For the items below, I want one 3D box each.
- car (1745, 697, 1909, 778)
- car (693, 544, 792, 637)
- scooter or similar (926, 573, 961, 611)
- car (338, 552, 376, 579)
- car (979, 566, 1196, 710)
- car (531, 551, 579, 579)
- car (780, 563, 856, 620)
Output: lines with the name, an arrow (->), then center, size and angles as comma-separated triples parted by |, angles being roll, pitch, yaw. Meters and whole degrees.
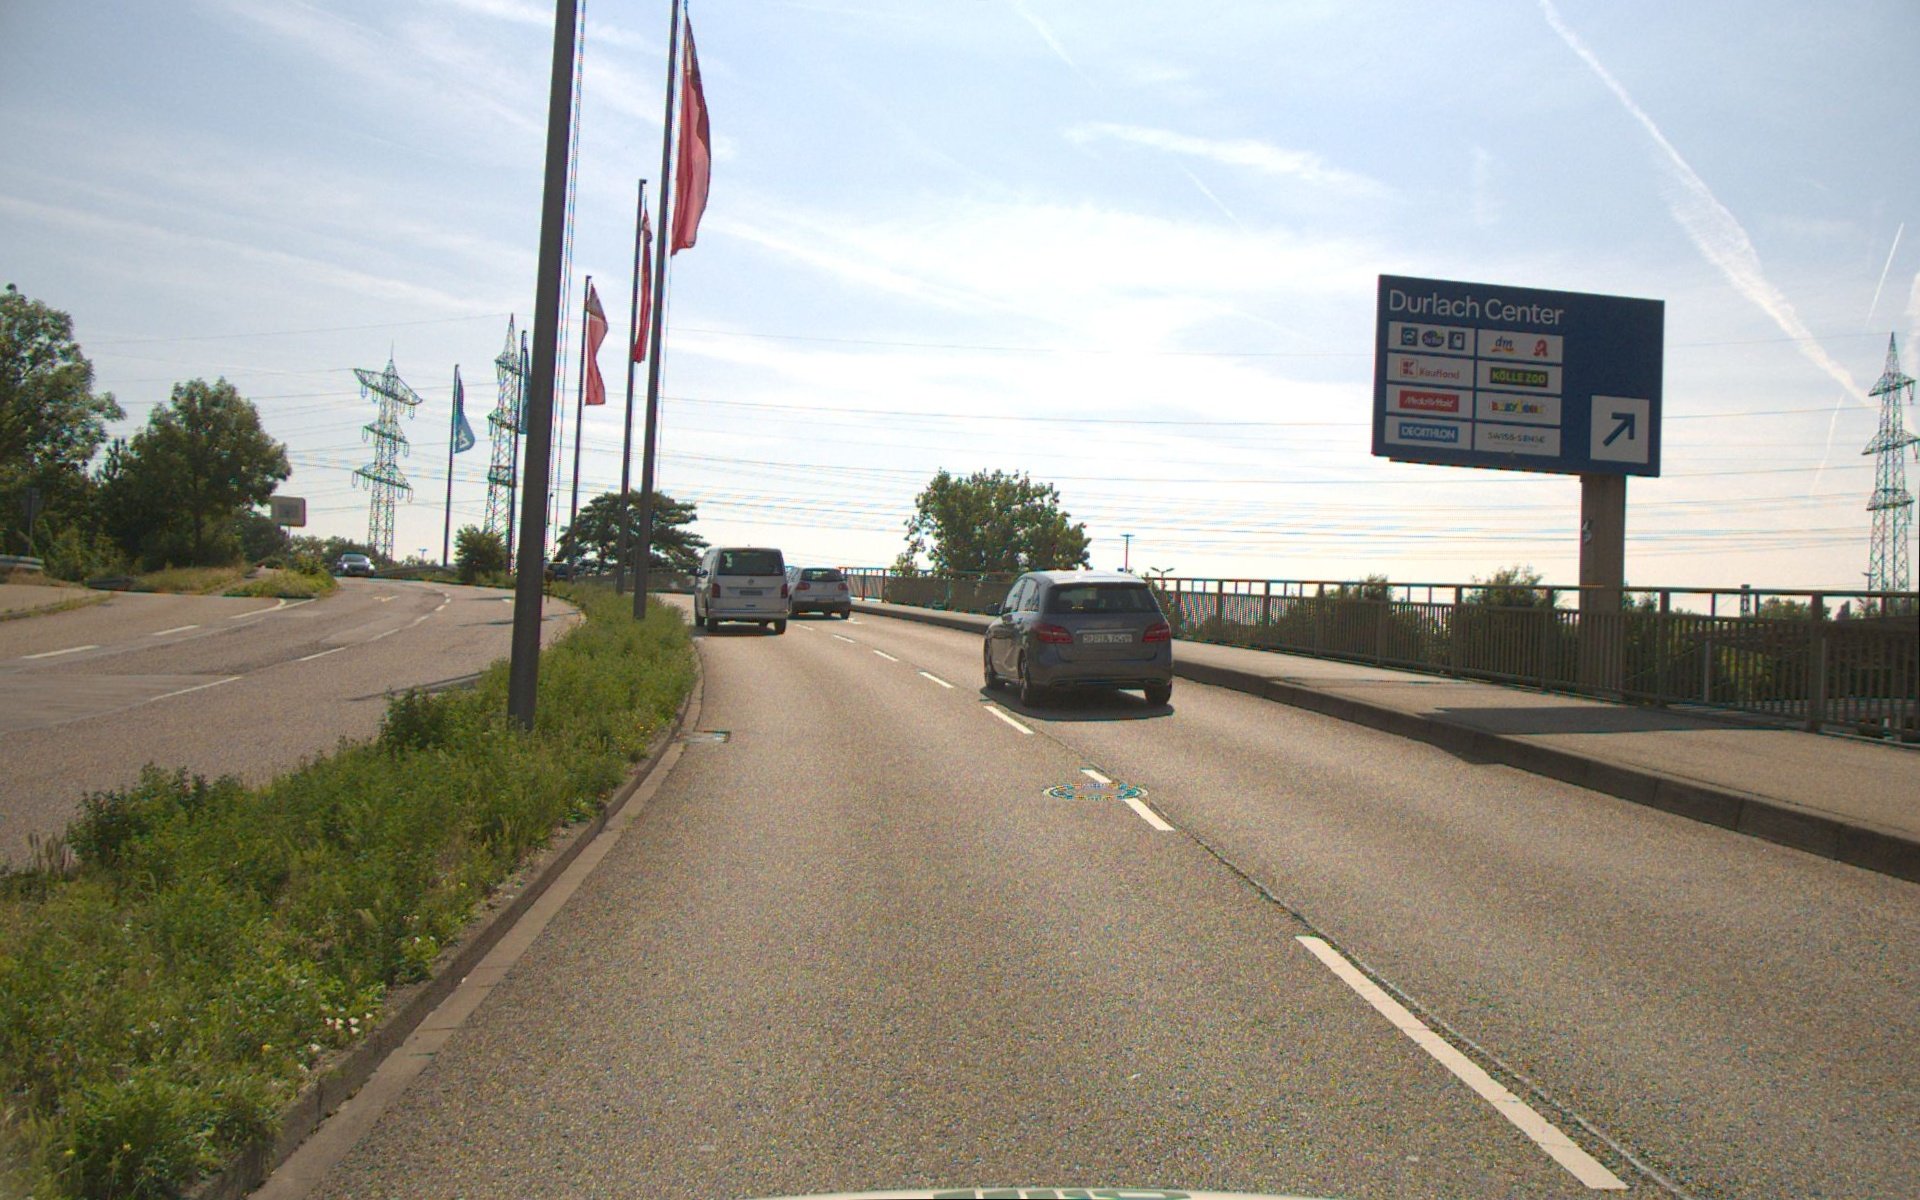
car -> 35.529, 5.618, 67.801 | 5.885, 2.979, 2.126 | 3, -3, -11
car -> -5.205, -0.279, 39.202 | 2.003, 2.048, 3.989 | -1, 2, -12
scooter or similar -> -0.536, -0.253, 52.706 | 0.504, 1.162, 1.470 | 3, 0, -24
car -> -35.564, -2.074, 97.463 | 1.761, 1.510, 4.227 | 0, 2, -25
car -> 1.451, 0.431, 20.505 | 1.821, 1.556, 4.136 | 2, 0, -8
car -> -22.195, -1.904, 90.586 | 1.752, 1.355, 3.710 | 3, 1, -26
car -> -4.190, -0.266, 48.228 | 1.822, 1.556, 4.134 | 1, 1, -10
